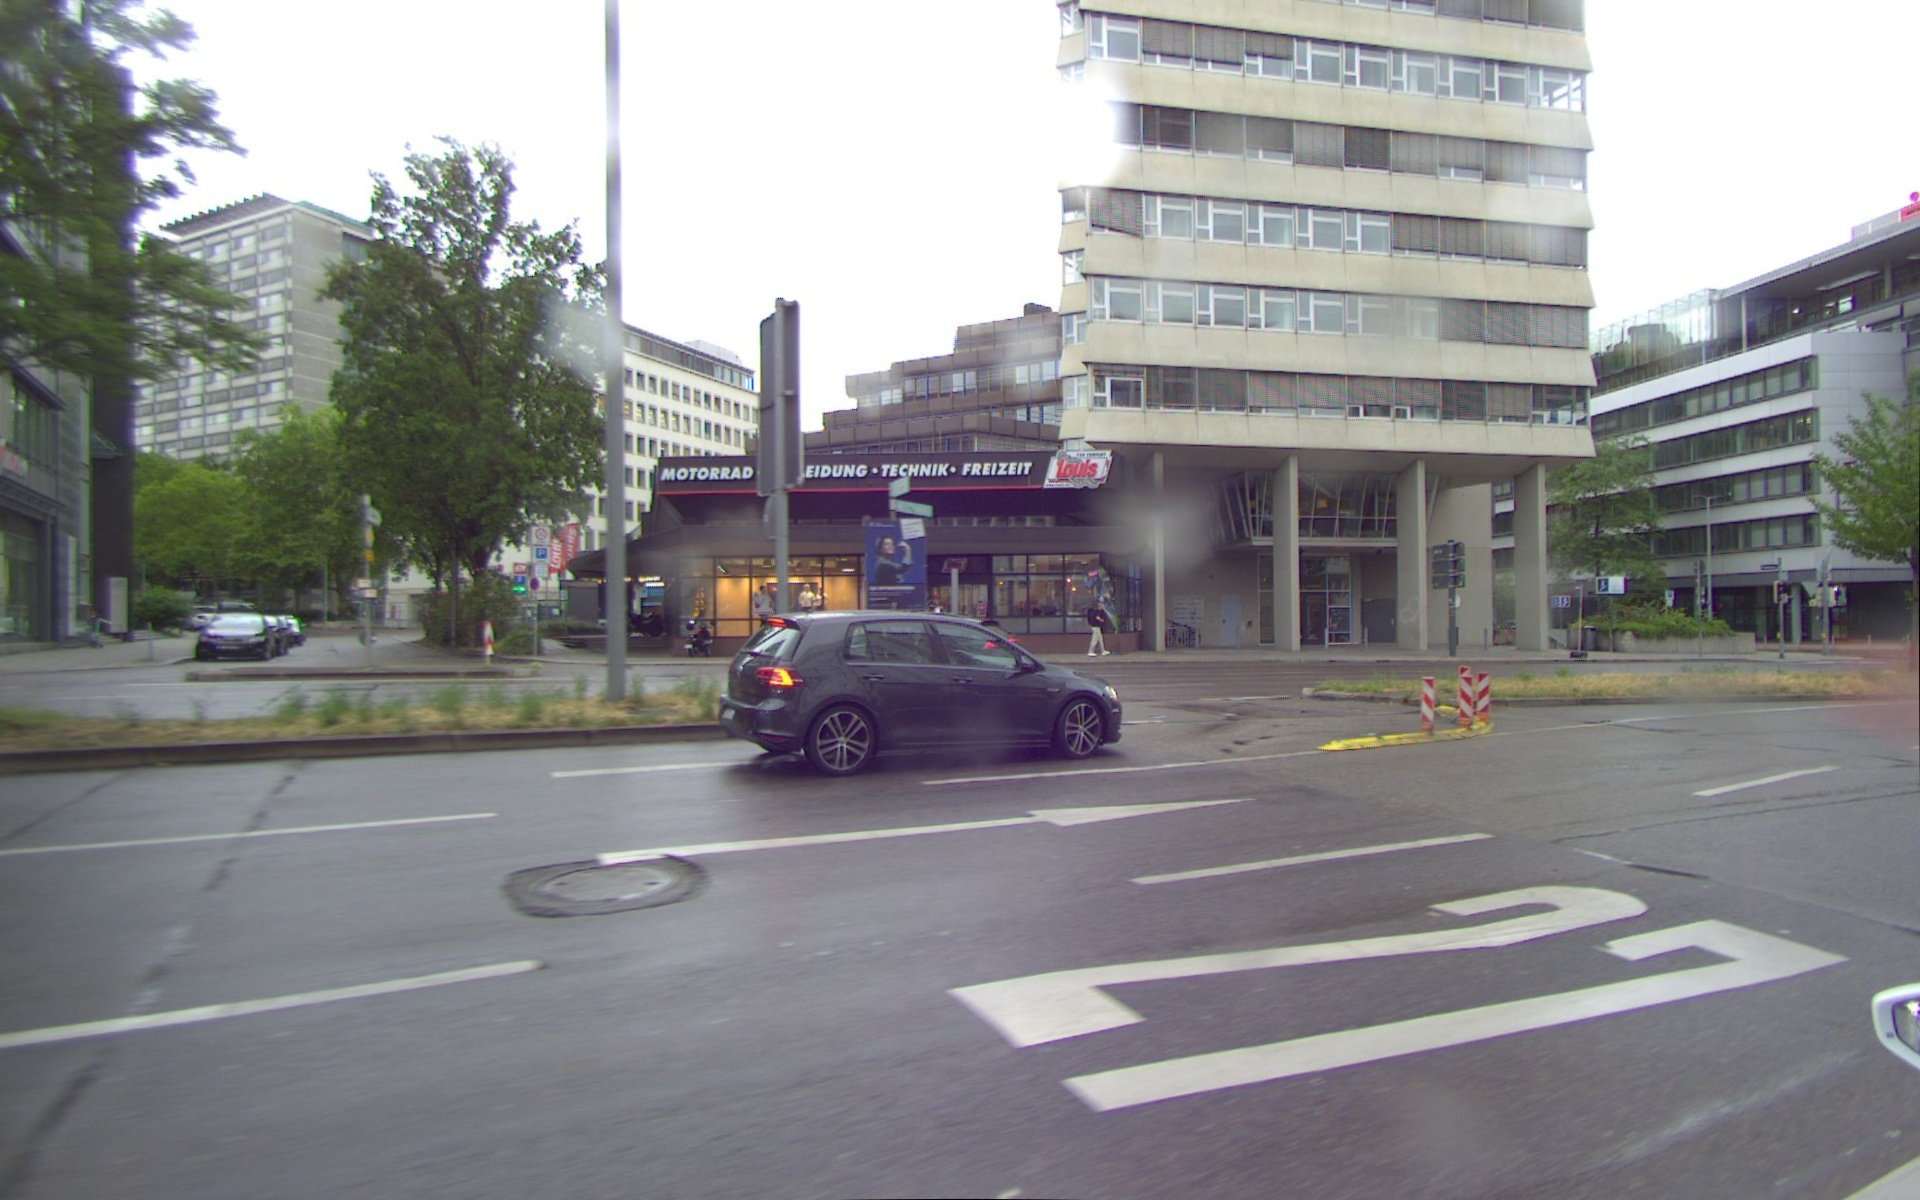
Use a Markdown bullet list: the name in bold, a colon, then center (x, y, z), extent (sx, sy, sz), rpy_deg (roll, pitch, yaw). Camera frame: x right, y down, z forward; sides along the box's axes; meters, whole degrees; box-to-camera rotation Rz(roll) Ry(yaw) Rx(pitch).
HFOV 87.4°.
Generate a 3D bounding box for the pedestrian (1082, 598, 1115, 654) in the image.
- **pedestrian**: center (4.706, 0.875, 34.155), extent (0.909, 1.857, 0.728), rpy_deg (1, -1, -12)

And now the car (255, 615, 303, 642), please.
- **car**: center (-35.809, 1.496, 52.895), extent (1.826, 1.305, 3.966), rpy_deg (1, 0, -31)

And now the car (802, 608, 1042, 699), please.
- **car**: center (-0.802, 0.950, 19.444), extent (4.412, 1.564, 1.992), rpy_deg (0, -1, 38)

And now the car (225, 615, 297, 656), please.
- **car**: center (-24.740, 1.220, 35.642), extent (1.827, 1.305, 3.965), rpy_deg (1, 0, -32)

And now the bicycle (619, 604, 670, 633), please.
- **bicycle**: center (-15.415, 0.903, 49.087), extent (2.182, 1.345, 0.913), rpy_deg (1, 0, -31)

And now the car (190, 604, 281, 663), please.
- **car**: center (-22.534, 0.998, 31.372), extent (1.978, 1.662, 3.965), rpy_deg (1, 0, -32)

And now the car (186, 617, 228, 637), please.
- **car**: center (-60.402, 2.188, 80.574), extent (3.939, 1.472, 1.802), rpy_deg (1, 0, 40)

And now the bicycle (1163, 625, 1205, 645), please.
- **bicycle**: center (9.849, 1.546, 44.221), extent (1.742, 0.823, 0.454), rpy_deg (1, 0, -11)

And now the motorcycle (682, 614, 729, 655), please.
- **motorcycle**: center (-9.065, 1.204, 35.909), extent (0.709, 1.351, 2.822), rpy_deg (1, 0, 6)

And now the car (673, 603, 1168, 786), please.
- **car**: center (-0.305, 0.823, 10.034), extent (4.632, 1.470, 1.830), rpy_deg (2, -1, -30)

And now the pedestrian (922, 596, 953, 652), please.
- **pedestrian**: center (-0.779, 0.806, 33.894), extent (0.908, 1.857, 0.818), rpy_deg (0, 0, -12)

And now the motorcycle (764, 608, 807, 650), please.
- **motorcycle**: center (-6.135, 0.998, 35.532), extent (0.788, 1.392, 2.894), rpy_deg (1, 0, 5)

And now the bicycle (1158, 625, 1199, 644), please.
- **bicycle**: center (9.754, 1.547, 44.805), extent (1.742, 0.823, 0.454), rpy_deg (1, 0, -11)
